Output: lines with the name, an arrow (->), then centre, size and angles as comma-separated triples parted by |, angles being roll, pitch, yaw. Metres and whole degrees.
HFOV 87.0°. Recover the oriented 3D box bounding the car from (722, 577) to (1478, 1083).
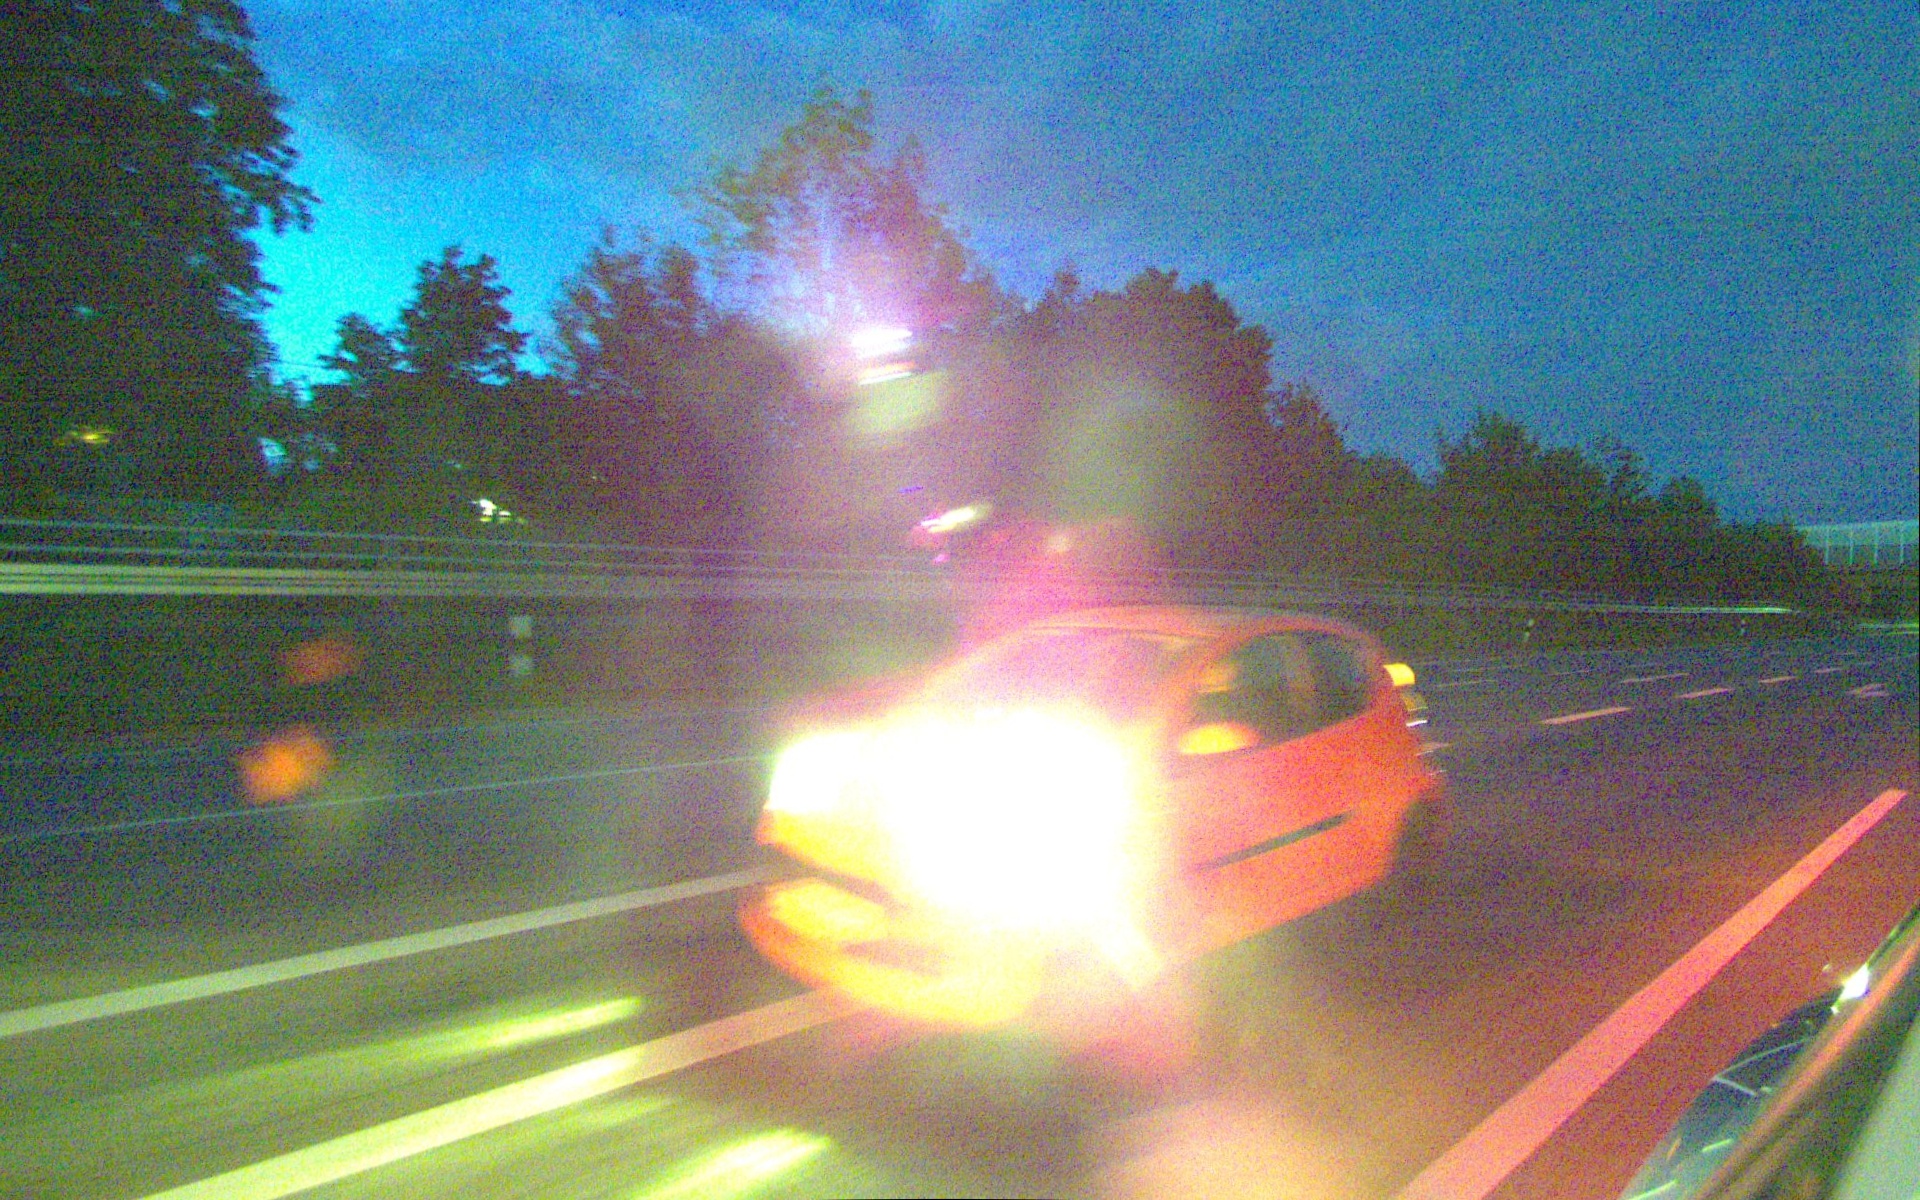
car -> 0.846, 0.670, 4.707 | 3.429, 1.469, 1.655 | 1, 0, -41
